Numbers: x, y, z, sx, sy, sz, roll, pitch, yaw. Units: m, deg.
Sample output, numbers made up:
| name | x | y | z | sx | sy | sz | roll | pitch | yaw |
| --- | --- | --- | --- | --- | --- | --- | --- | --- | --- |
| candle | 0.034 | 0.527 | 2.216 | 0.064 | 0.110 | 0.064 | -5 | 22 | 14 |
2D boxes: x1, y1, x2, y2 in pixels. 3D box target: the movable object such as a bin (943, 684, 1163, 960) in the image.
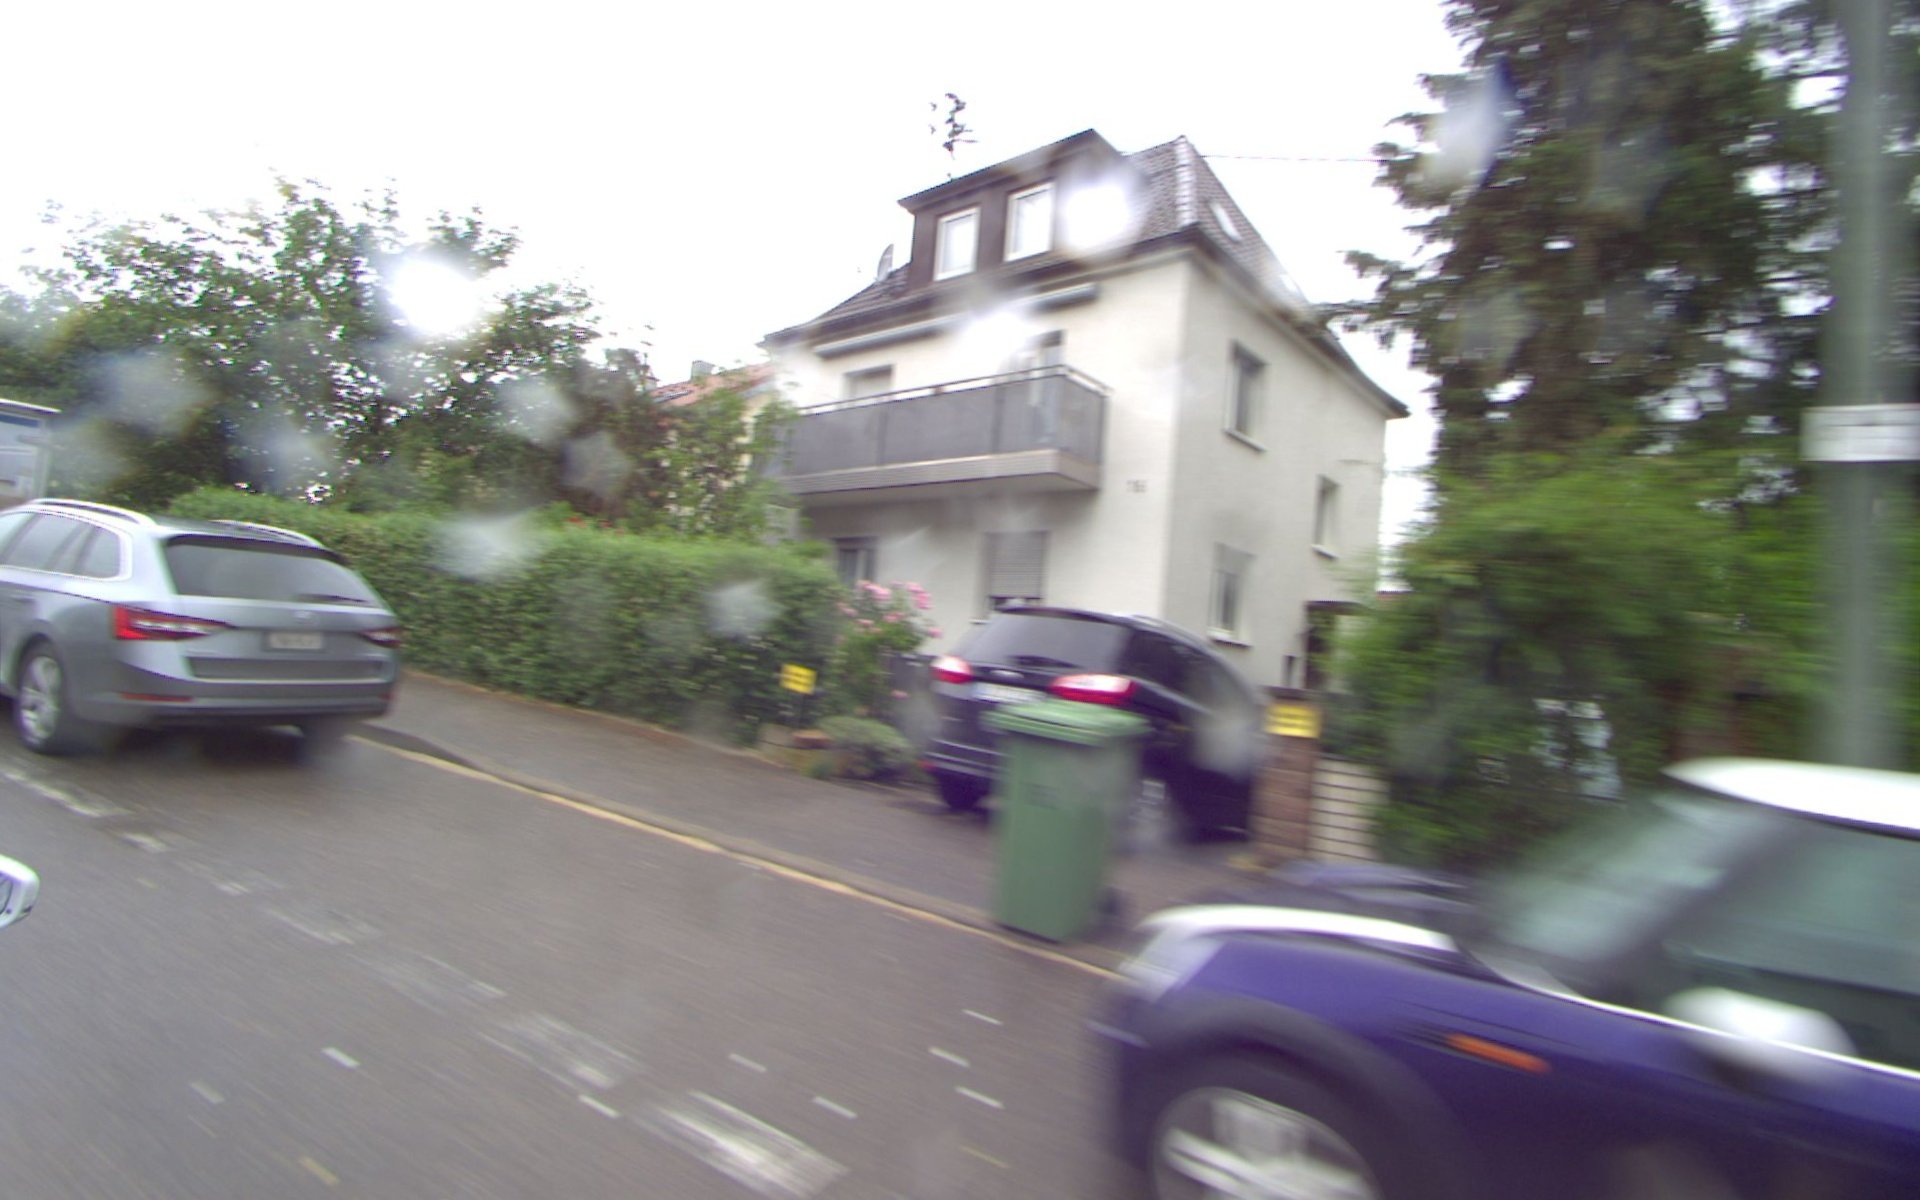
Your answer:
| name | x | y | z | sx | sy | sz | roll | pitch | yaw |
| --- | --- | --- | --- | --- | --- | --- | --- | --- | --- |
| movable object such as a bin | 0.464 | 1.018 | 4.865 | 0.689 | 1.110 | 0.704 | 7 | -2 | 31 |

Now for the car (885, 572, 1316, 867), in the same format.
| name | x | y | z | sx | sy | sz | roll | pitch | yaw |
| --- | --- | --- | --- | --- | --- | --- | --- | --- | --- |
| car | 1.420 | 1.056 | 8.352 | 1.749 | 1.704 | 4.015 | 7 | -6 | 35 |

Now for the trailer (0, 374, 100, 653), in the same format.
| name | x | y | z | sx | sy | sz | roll | pitch | yaw |
| --- | --- | --- | --- | --- | --- | --- | --- | --- | --- |
| trailer | -11.213 | -1.082 | 10.042 | 5.339 | 2.485 | 1.954 | 7 | -1 | 28 |

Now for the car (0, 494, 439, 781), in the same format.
| name | x | y | z | sx | sy | sz | roll | pitch | yaw |
| --- | --- | --- | --- | --- | --- | --- | --- | --- | --- |
| car | -6.039 | 0.087 | 7.197 | 4.623 | 1.441 | 1.751 | 7 | -1 | 29 |

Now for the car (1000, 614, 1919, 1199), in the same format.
| name | x | y | z | sx | sy | sz | roll | pitch | yaw |
| --- | --- | --- | --- | --- | --- | --- | --- | --- | --- |
| car | 2.136 | 1.015 | 2.257 | 3.641 | 1.474 | 1.636 | 6 | -1 | 33 |
